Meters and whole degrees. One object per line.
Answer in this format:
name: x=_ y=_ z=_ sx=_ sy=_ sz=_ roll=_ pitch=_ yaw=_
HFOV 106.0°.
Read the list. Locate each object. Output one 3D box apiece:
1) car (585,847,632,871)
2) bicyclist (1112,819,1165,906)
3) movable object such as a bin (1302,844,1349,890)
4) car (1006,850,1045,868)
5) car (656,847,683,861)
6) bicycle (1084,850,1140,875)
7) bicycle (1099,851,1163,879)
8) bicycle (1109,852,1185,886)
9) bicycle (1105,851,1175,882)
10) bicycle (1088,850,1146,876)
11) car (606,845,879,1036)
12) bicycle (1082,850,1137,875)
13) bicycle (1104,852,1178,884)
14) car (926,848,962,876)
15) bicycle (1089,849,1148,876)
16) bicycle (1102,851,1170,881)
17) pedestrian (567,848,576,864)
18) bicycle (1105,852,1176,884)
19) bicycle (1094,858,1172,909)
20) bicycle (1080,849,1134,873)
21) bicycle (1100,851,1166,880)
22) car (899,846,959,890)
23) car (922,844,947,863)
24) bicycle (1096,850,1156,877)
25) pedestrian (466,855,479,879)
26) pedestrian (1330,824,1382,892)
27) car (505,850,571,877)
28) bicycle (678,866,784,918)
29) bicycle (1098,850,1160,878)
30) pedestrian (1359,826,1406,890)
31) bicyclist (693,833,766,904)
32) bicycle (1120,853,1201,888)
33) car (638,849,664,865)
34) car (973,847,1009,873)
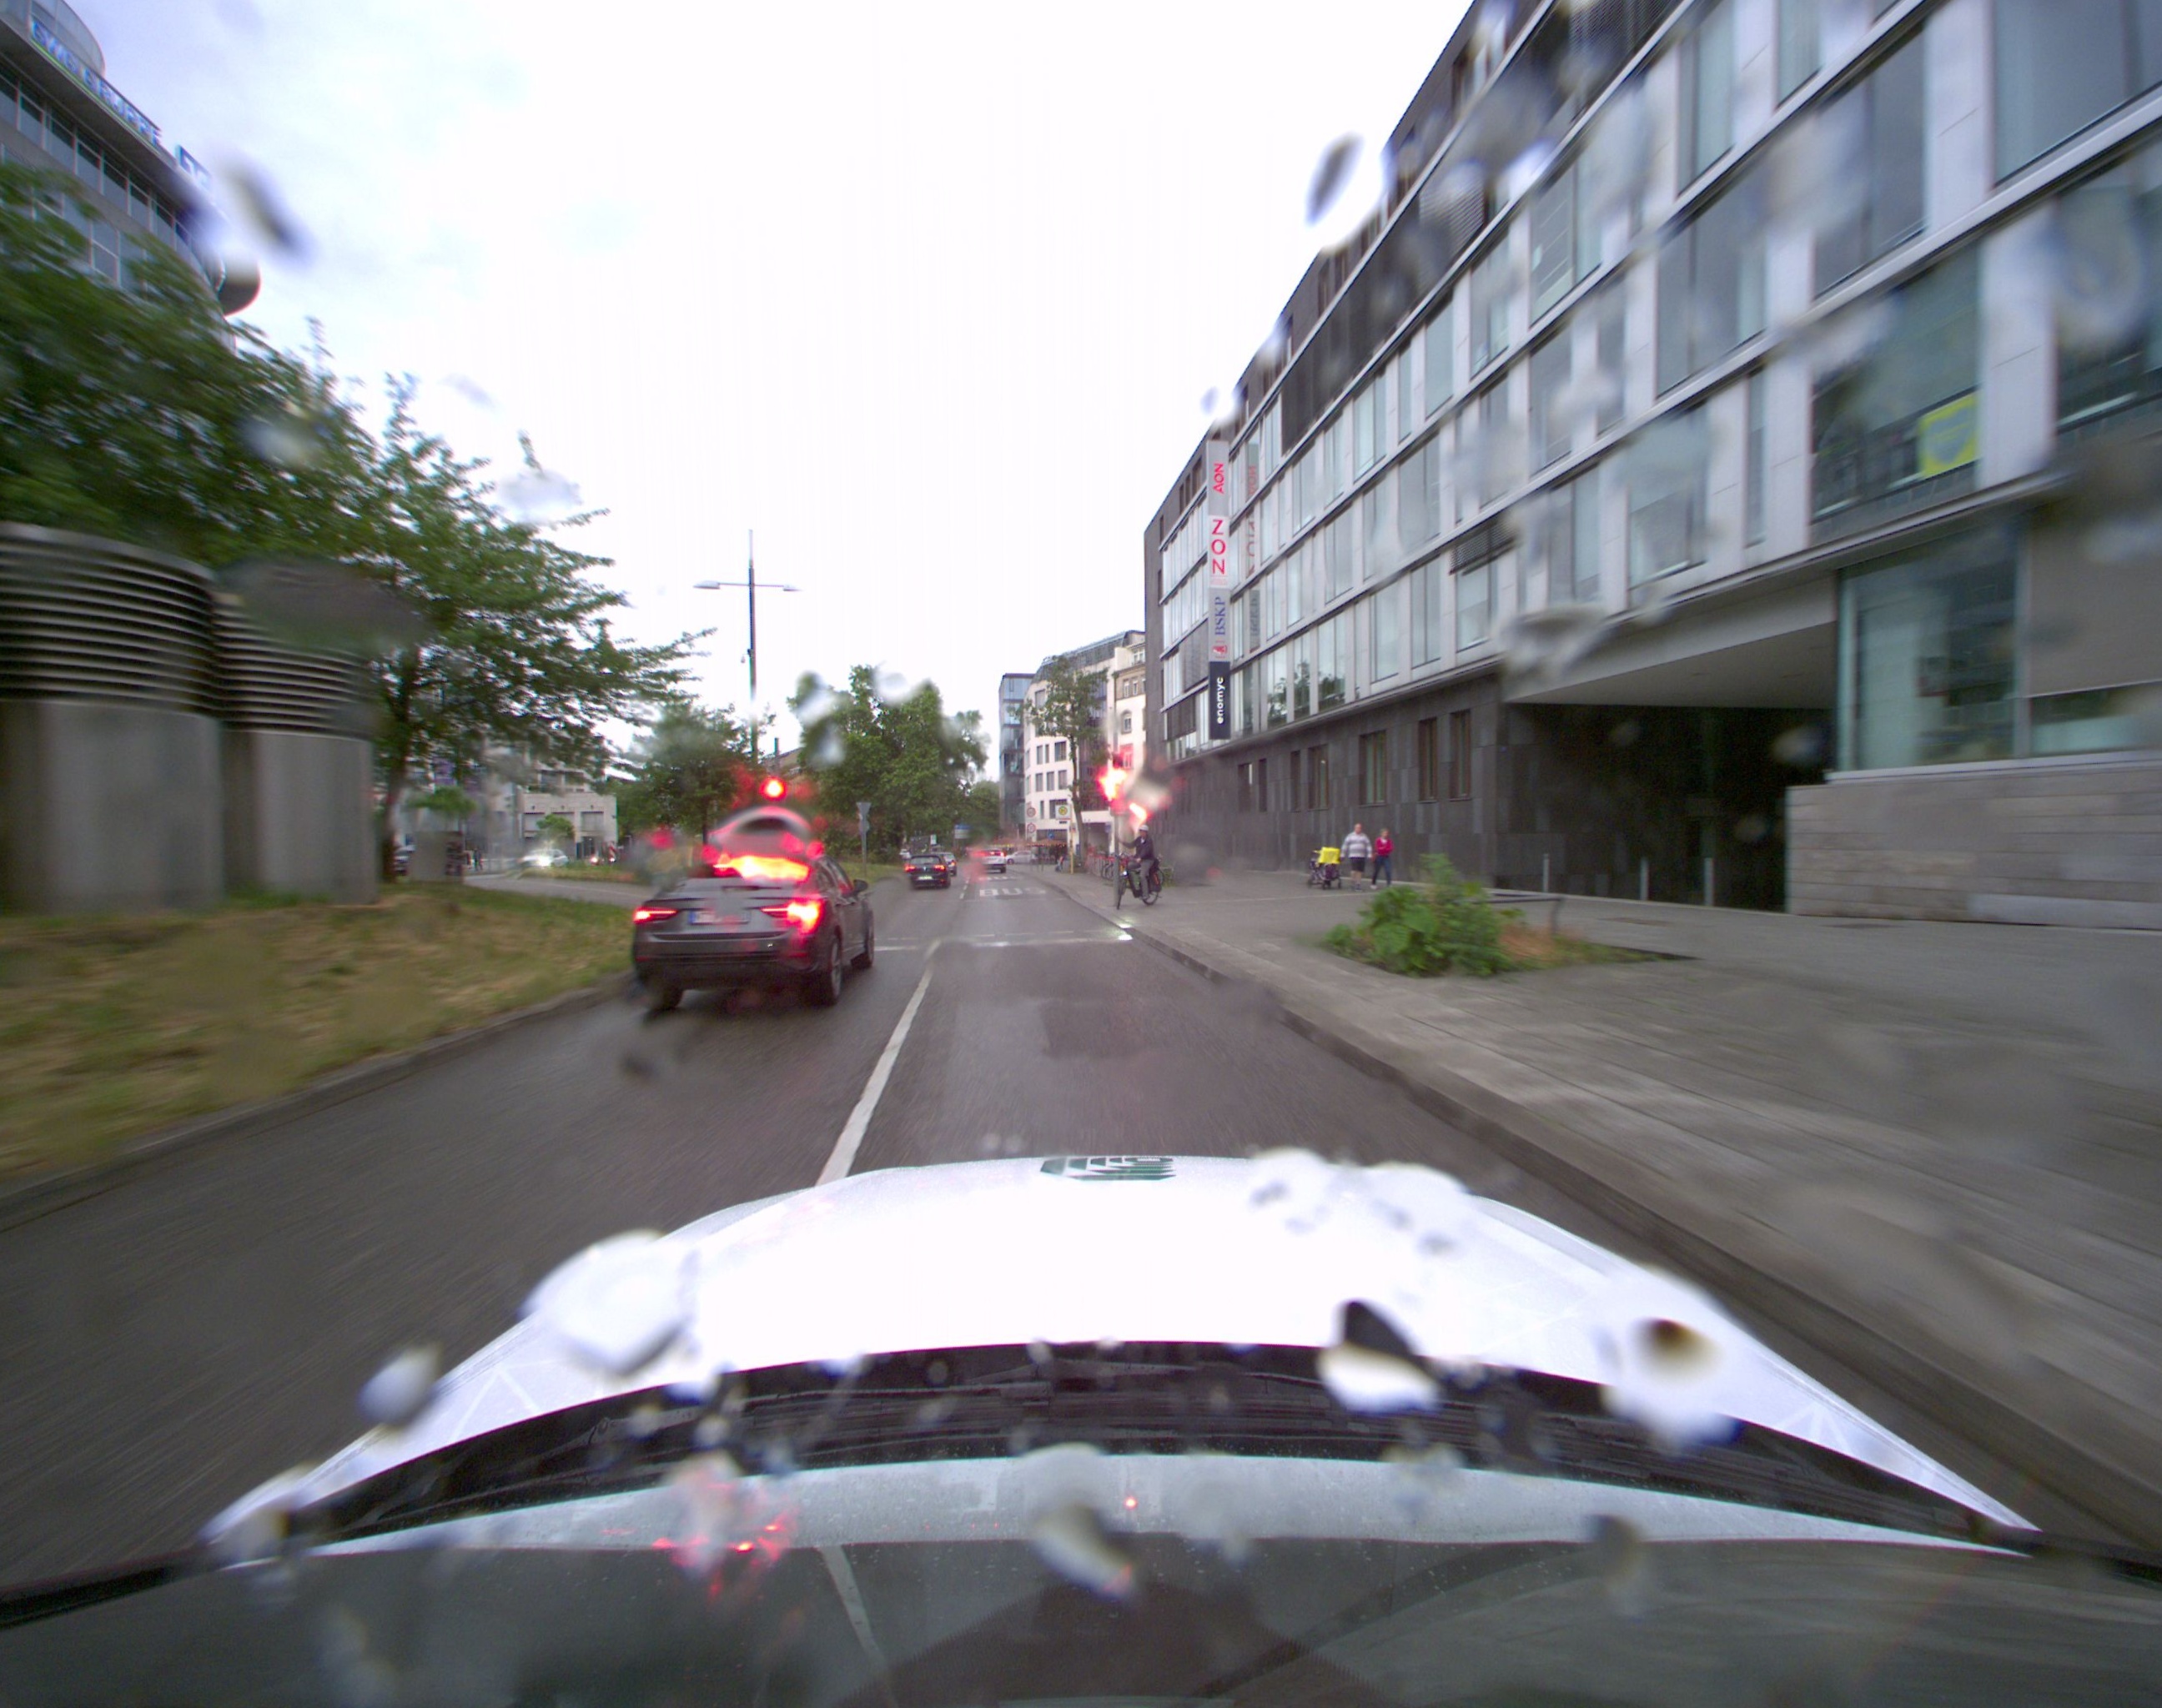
car: x=-35.432 y=0.315 z=61.231 sx=1.726 sy=1.727 sz=4.563 roll=-1 pitch=0 yaw=-13
bicyclist: x=1.428 y=0.205 z=20.053 sx=0.753 sy=2.083 sz=1.092 roll=-2 pitch=0 yaw=40
movable object such as a bin: x=7.106 y=0.349 z=23.733 sx=0.730 sy=1.264 sz=1.441 roll=-3 pitch=1 yaw=-7
car: x=-5.852 y=0.517 z=86.213 sx=3.982 sy=1.647 sz=1.996 roll=3 pitch=0 yaw=-7
car: x=-46.946 y=-0.009 z=92.972 sx=1.807 sy=1.486 sz=4.363 roll=1 pitch=0 yaw=-14
bicycle: x=1.466 y=0.383 z=38.184 sx=2.535 sy=1.087 sz=0.675 roll=-2 pitch=0 yaw=-9
bicycle: x=2.040 y=0.443 z=33.566 sx=2.535 sy=1.087 sz=0.675 roll=-2 pitch=0 yaw=-9
bicycle: x=2.266 y=0.513 z=28.105 sx=2.535 sy=1.087 sz=0.675 roll=-1 pitch=0 yaw=-9
bicycle: x=2.243 y=0.471 z=30.992 sx=2.535 sy=1.087 sz=0.675 roll=-2 pitch=0 yaw=-9
bicycle: x=1.652 y=0.395 z=37.308 sx=2.535 sy=1.087 sz=0.675 roll=-2 pitch=0 yaw=-9
car: x=-3.451 y=0.716 z=9.215 sx=1.847 sy=1.616 sz=4.240 roll=0 pitch=1 yaw=-8
bicycle: x=1.367 y=0.393 z=38.924 sx=2.535 sy=1.087 sz=0.675 roll=-2 pitch=0 yaw=-9
bicycle: x=2.132 y=0.504 z=28.899 sx=2.535 sy=1.087 sz=0.675 roll=1 pitch=0 yaw=-9
car: x=-8.583 y=0.482 z=50.833 sx=1.948 sy=1.646 sz=4.225 roll=-1 pitch=0 yaw=-14
bicycle: x=1.669 y=0.376 z=36.556 sx=2.535 sy=1.087 sz=0.675 roll=-2 pitch=0 yaw=-9
bicycle: x=2.130 y=0.464 z=31.794 sx=2.535 sy=1.087 sz=0.675 roll=-2 pitch=0 yaw=-9
pedestrian: x=-64.250 y=0.245 z=102.679 sx=0.789 sy=2.013 sz=0.737 roll=1 pitch=0 yaw=-11
bicycle: x=2.205 y=0.497 z=30.132 sx=2.535 sy=1.087 sz=0.675 roll=-2 pitch=0 yaw=-9
bicycle: x=1.295 y=0.688 z=19.879 sx=0.753 sy=1.145 sz=2.146 roll=-2 pitch=0 yaw=40
bicycle: x=1.280 y=0.341 z=39.641 sx=2.535 sy=1.087 sz=0.625 roll=-2 pitch=0 yaw=-9
bicycle: x=2.075 y=0.462 z=32.658 sx=2.535 sy=1.060 sz=0.675 roll=-2 pitch=0 yaw=-9
car: x=-6.283 y=0.521 z=34.137 sx=2.160 sy=1.706 sz=4.542 roll=-1 pitch=0 yaw=-8
car: x=-13.306 y=-0.085 z=73.706 sx=1.948 sy=1.646 sz=3.980 roll=-1 pitch=0 yaw=-15
bicycle: x=1.968 y=0.415 z=35.739 sx=2.535 sy=1.087 sz=0.675 roll=-2 pitch=0 yaw=-9
pedestrian: x=-47.730 y=1.018 z=63.872 sx=0.624 sy=1.763 sz=0.719 roll=-4 pitch=1 yaw=-30
pedestrian: x=7.534 y=0.102 z=22.363 sx=0.900 sy=1.791 sz=1.043 roll=-3 pitch=1 yaw=-10
car: x=-31.528 y=0.533 z=47.435 sx=1.821 sy=1.475 sz=4.175 roll=-1 pitch=0 yaw=-13
bicycle: x=-8.175 y=0.861 z=19.047 sx=2.045 sy=1.114 sz=1.016 roll=2 pitch=0 yaw=15
bicycle: x=2.048 y=0.420 z=34.765 sx=2.535 sy=1.087 sz=0.675 roll=-2 pitch=0 yaw=-9
pedestrian: x=8.354 y=0.092 z=22.602 sx=0.718 sy=1.690 sz=1.096 roll=-3 pitch=1 yaw=-9
bicyclist: x=-8.219 y=0.325 z=19.078 sx=1.124 sy=1.582 sz=1.019 roll=1 pitch=0 yaw=16
bicycle: x=2.596 y=0.535 z=26.651 sx=2.535 sy=1.057 sz=0.675 roll=-1 pitch=0 yaw=-9
car: x=-42.064 y=0.292 z=79.718 sx=1.811 sy=1.486 sz=3.972 roll=1 pitch=0 yaw=-21
car: x=-6.113 y=0.377 z=55.022 sx=2.179 sy=1.700 sz=3.987 roll=-1 pitch=0 yaw=-9
